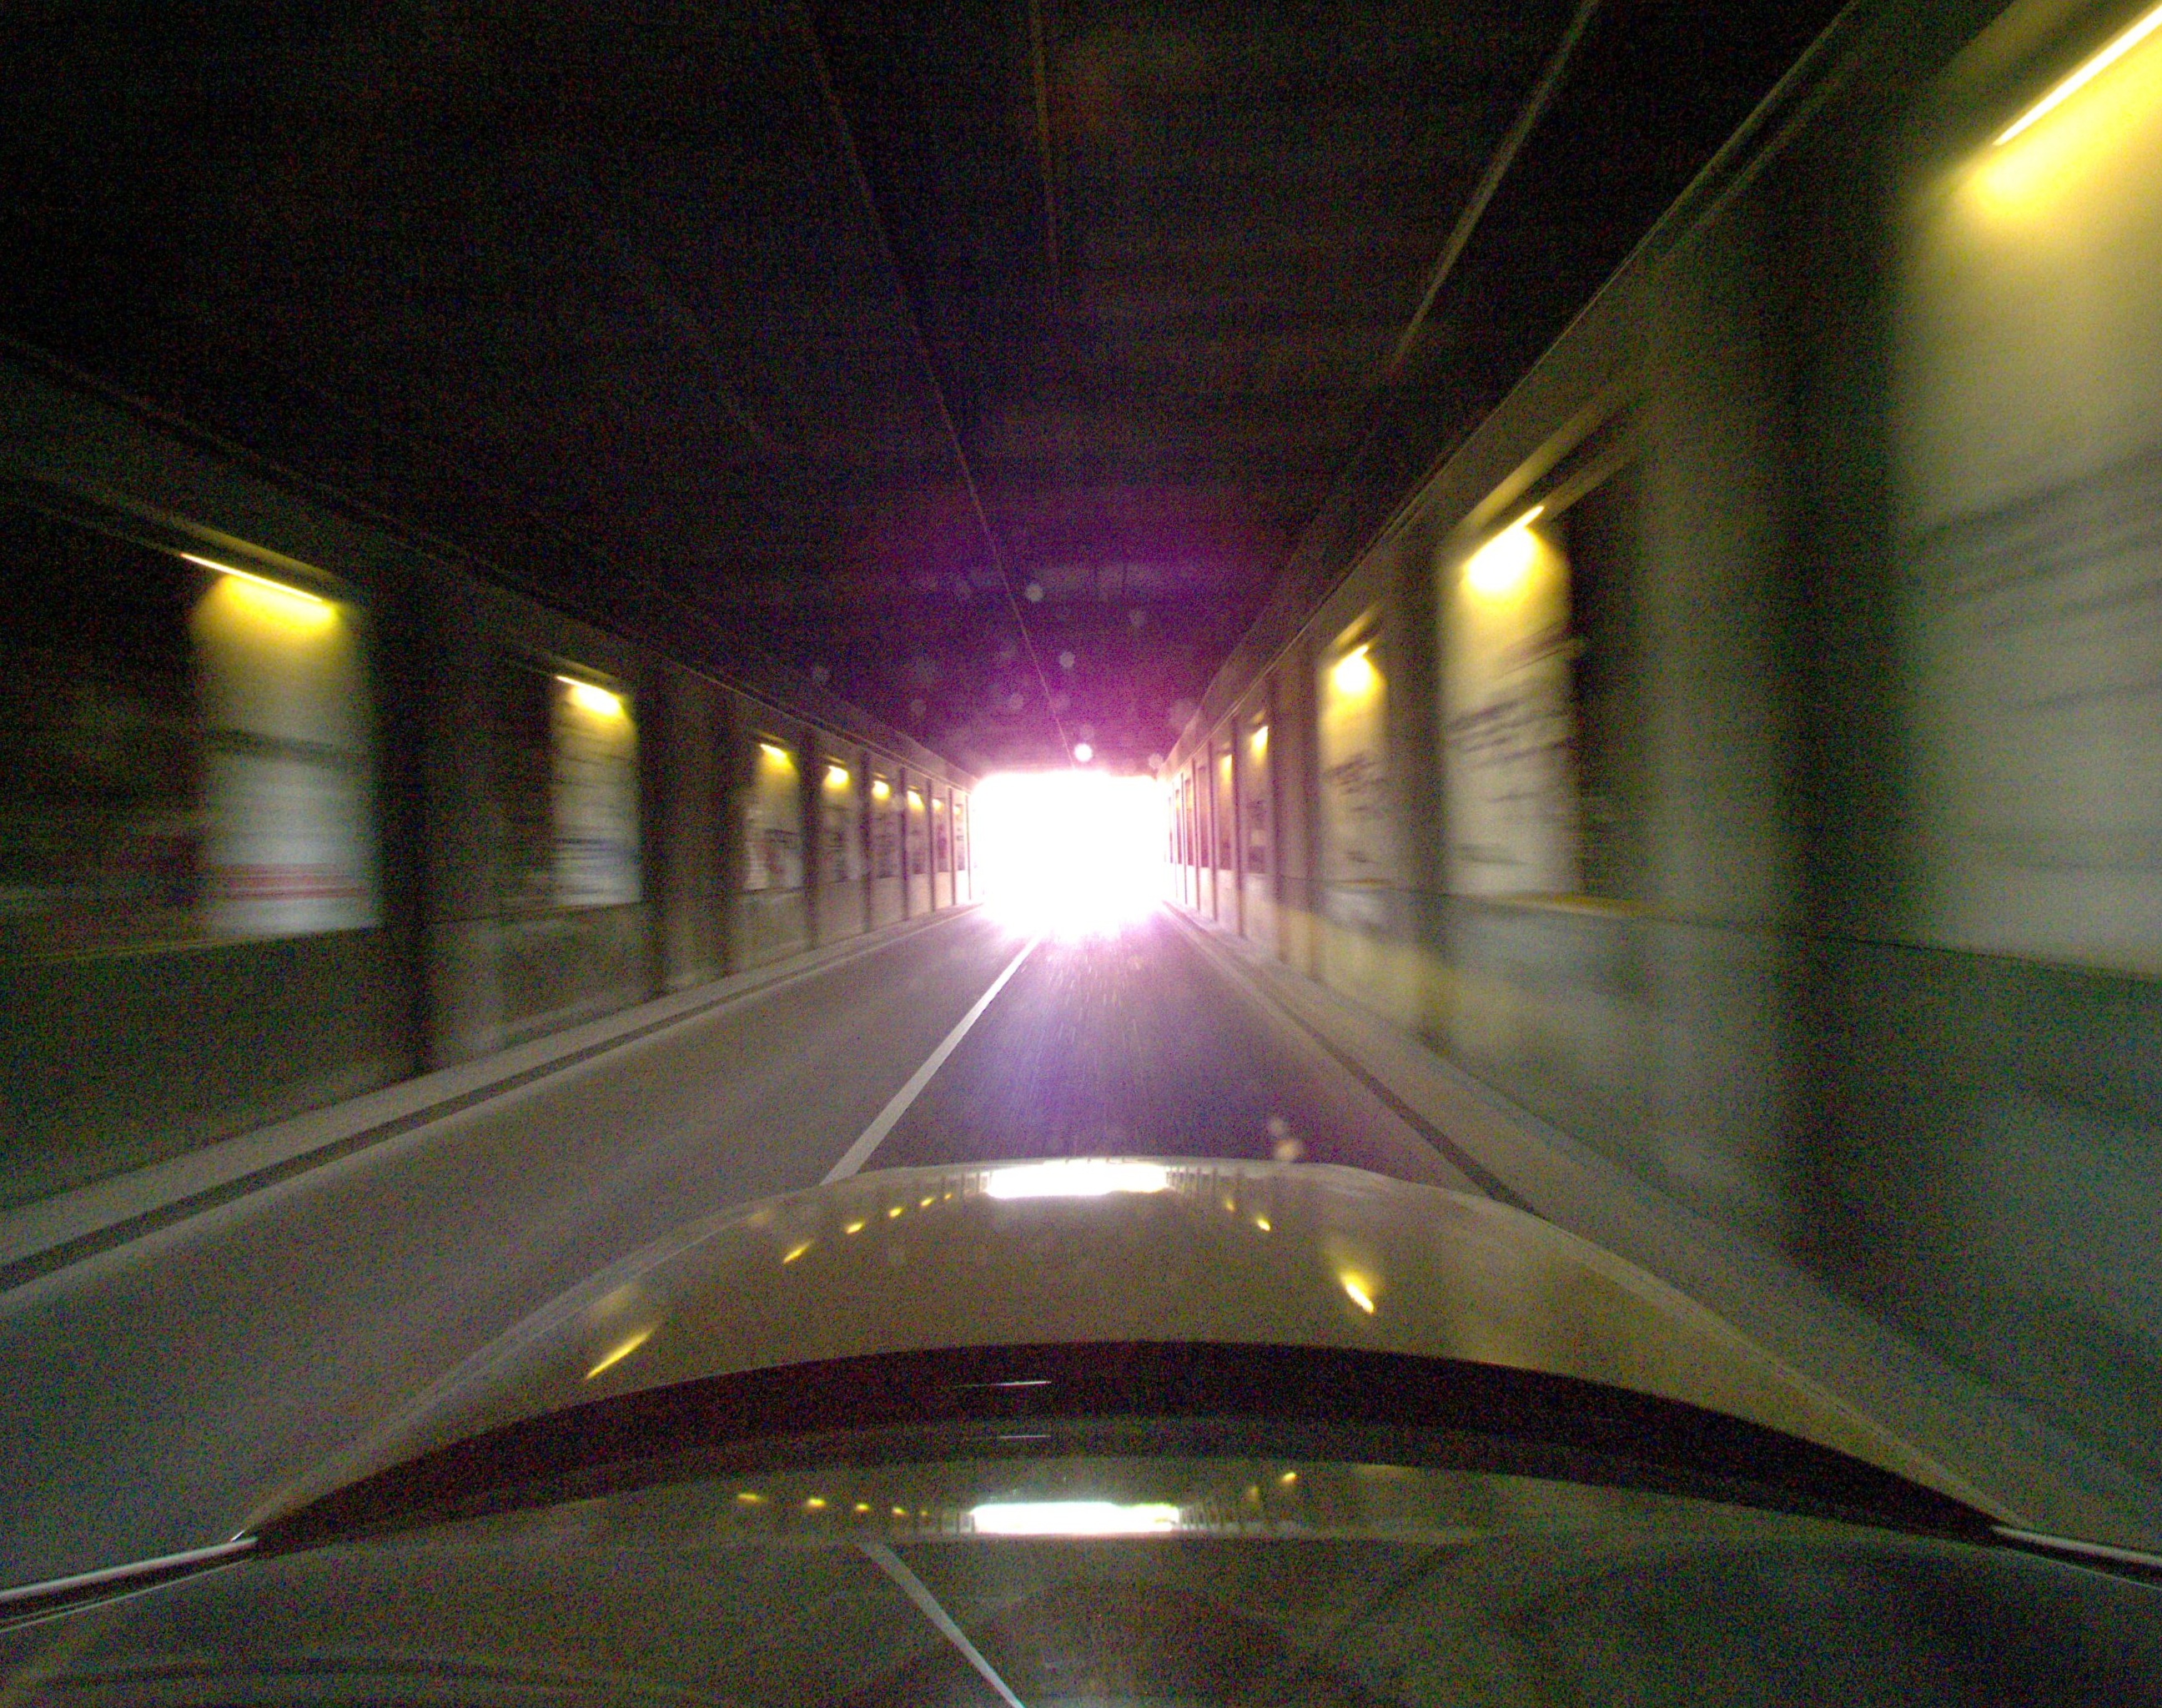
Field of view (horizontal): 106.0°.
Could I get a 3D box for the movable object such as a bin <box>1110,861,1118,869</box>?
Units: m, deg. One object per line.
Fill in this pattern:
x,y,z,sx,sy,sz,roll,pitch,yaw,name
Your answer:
6.411,2.158,158.463,1.363,1.418,1.063,1,-1,-6,movable object such as a bin

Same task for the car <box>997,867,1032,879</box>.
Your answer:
-8.693,2.469,106.534,4.171,1.490,1.888,0,-2,28,car
